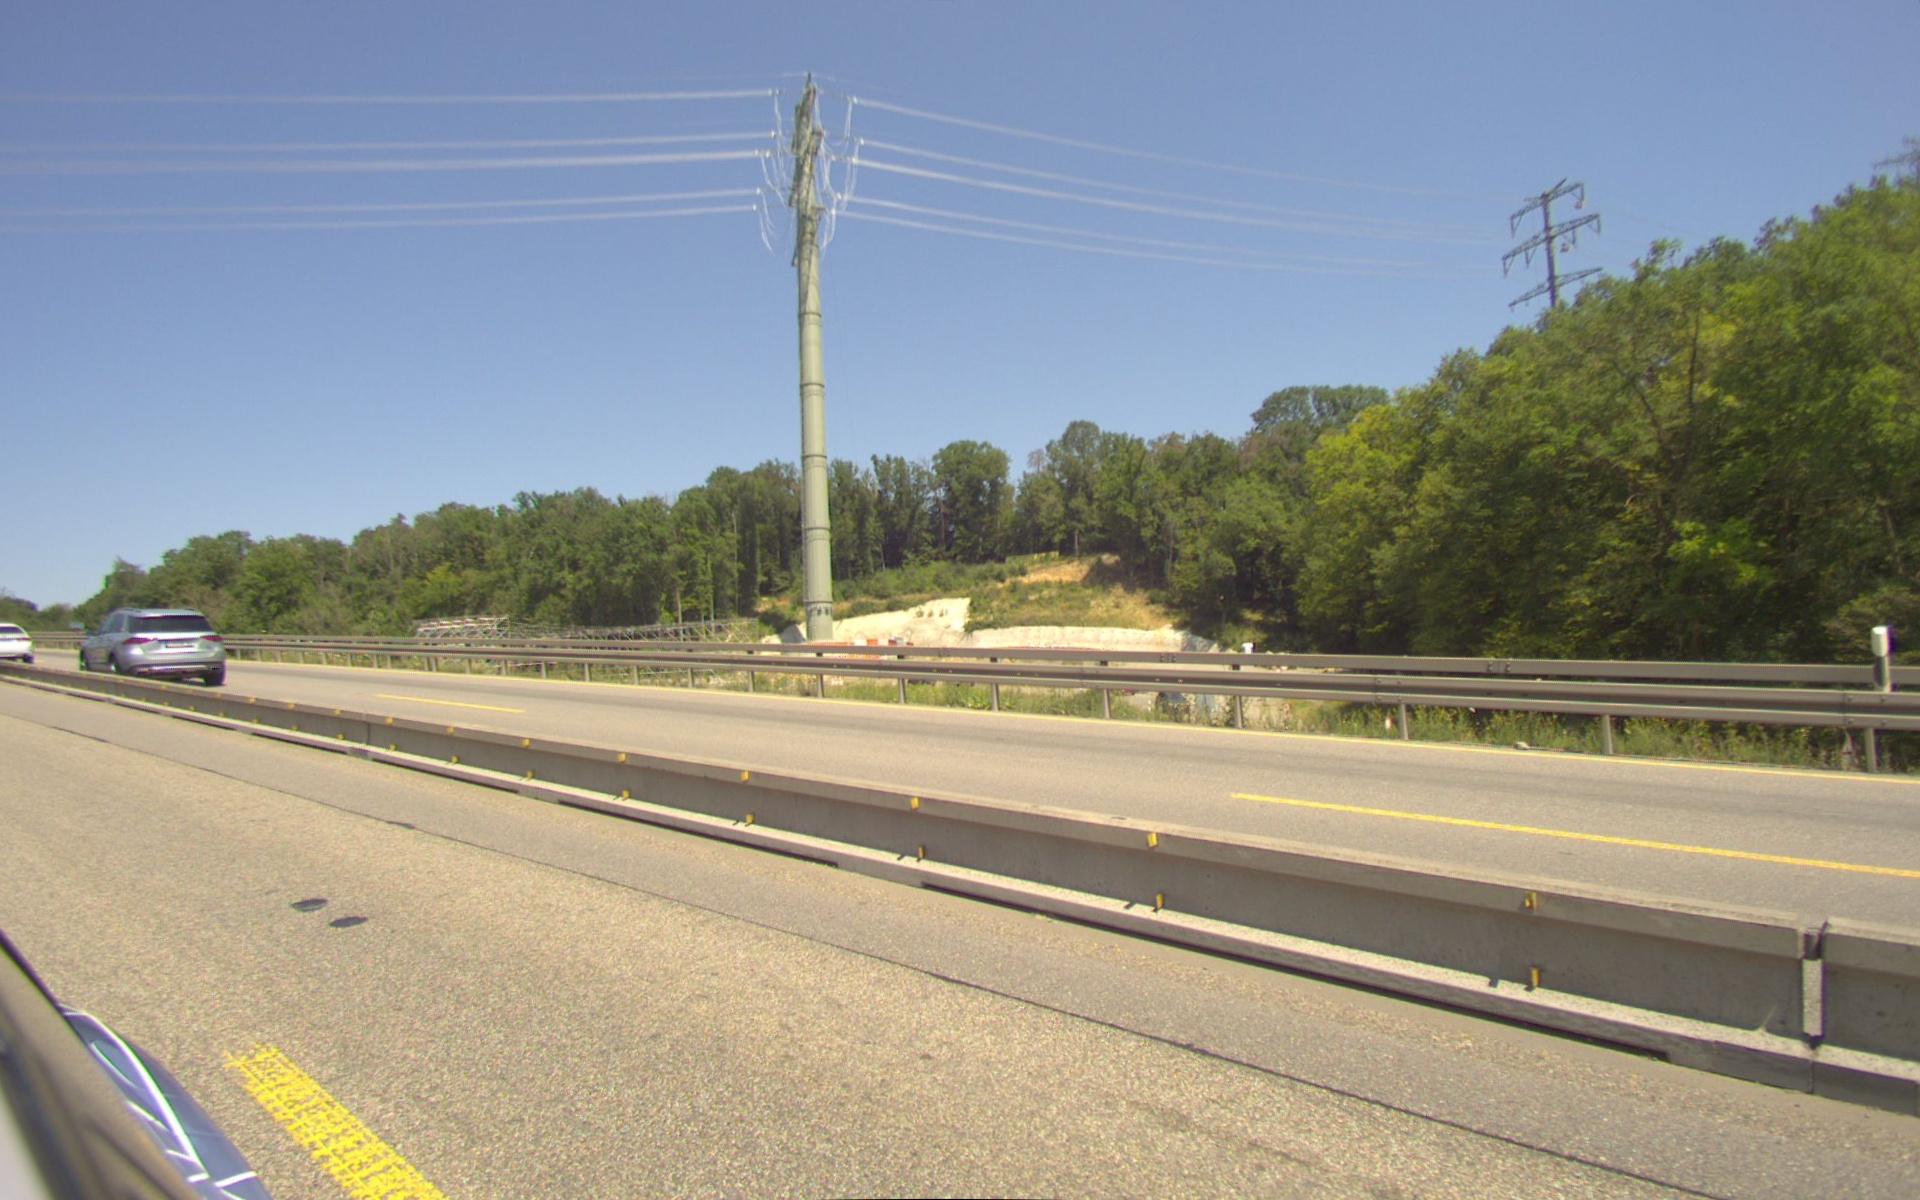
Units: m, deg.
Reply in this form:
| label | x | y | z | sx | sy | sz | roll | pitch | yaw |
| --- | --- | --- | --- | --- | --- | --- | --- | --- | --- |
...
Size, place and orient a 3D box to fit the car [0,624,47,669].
| label | x | y | z | sx | sy | sz | roll | pitch | yaw |
| --- | --- | --- | --- | --- | --- | --- | --- | --- | --- |
| car | -34.439 | 1.656 | 36.209 | 4.471 | 1.498 | 1.893 | -1 | -1 | 38 |

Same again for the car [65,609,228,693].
| label | x | y | z | sx | sy | sz | roll | pitch | yaw |
| --- | --- | --- | --- | --- | --- | --- | --- | --- | --- |
| car | -18.732 | 1.116 | 23.231 | 4.729 | 1.718 | 1.894 | -1 | -1 | 38 |
